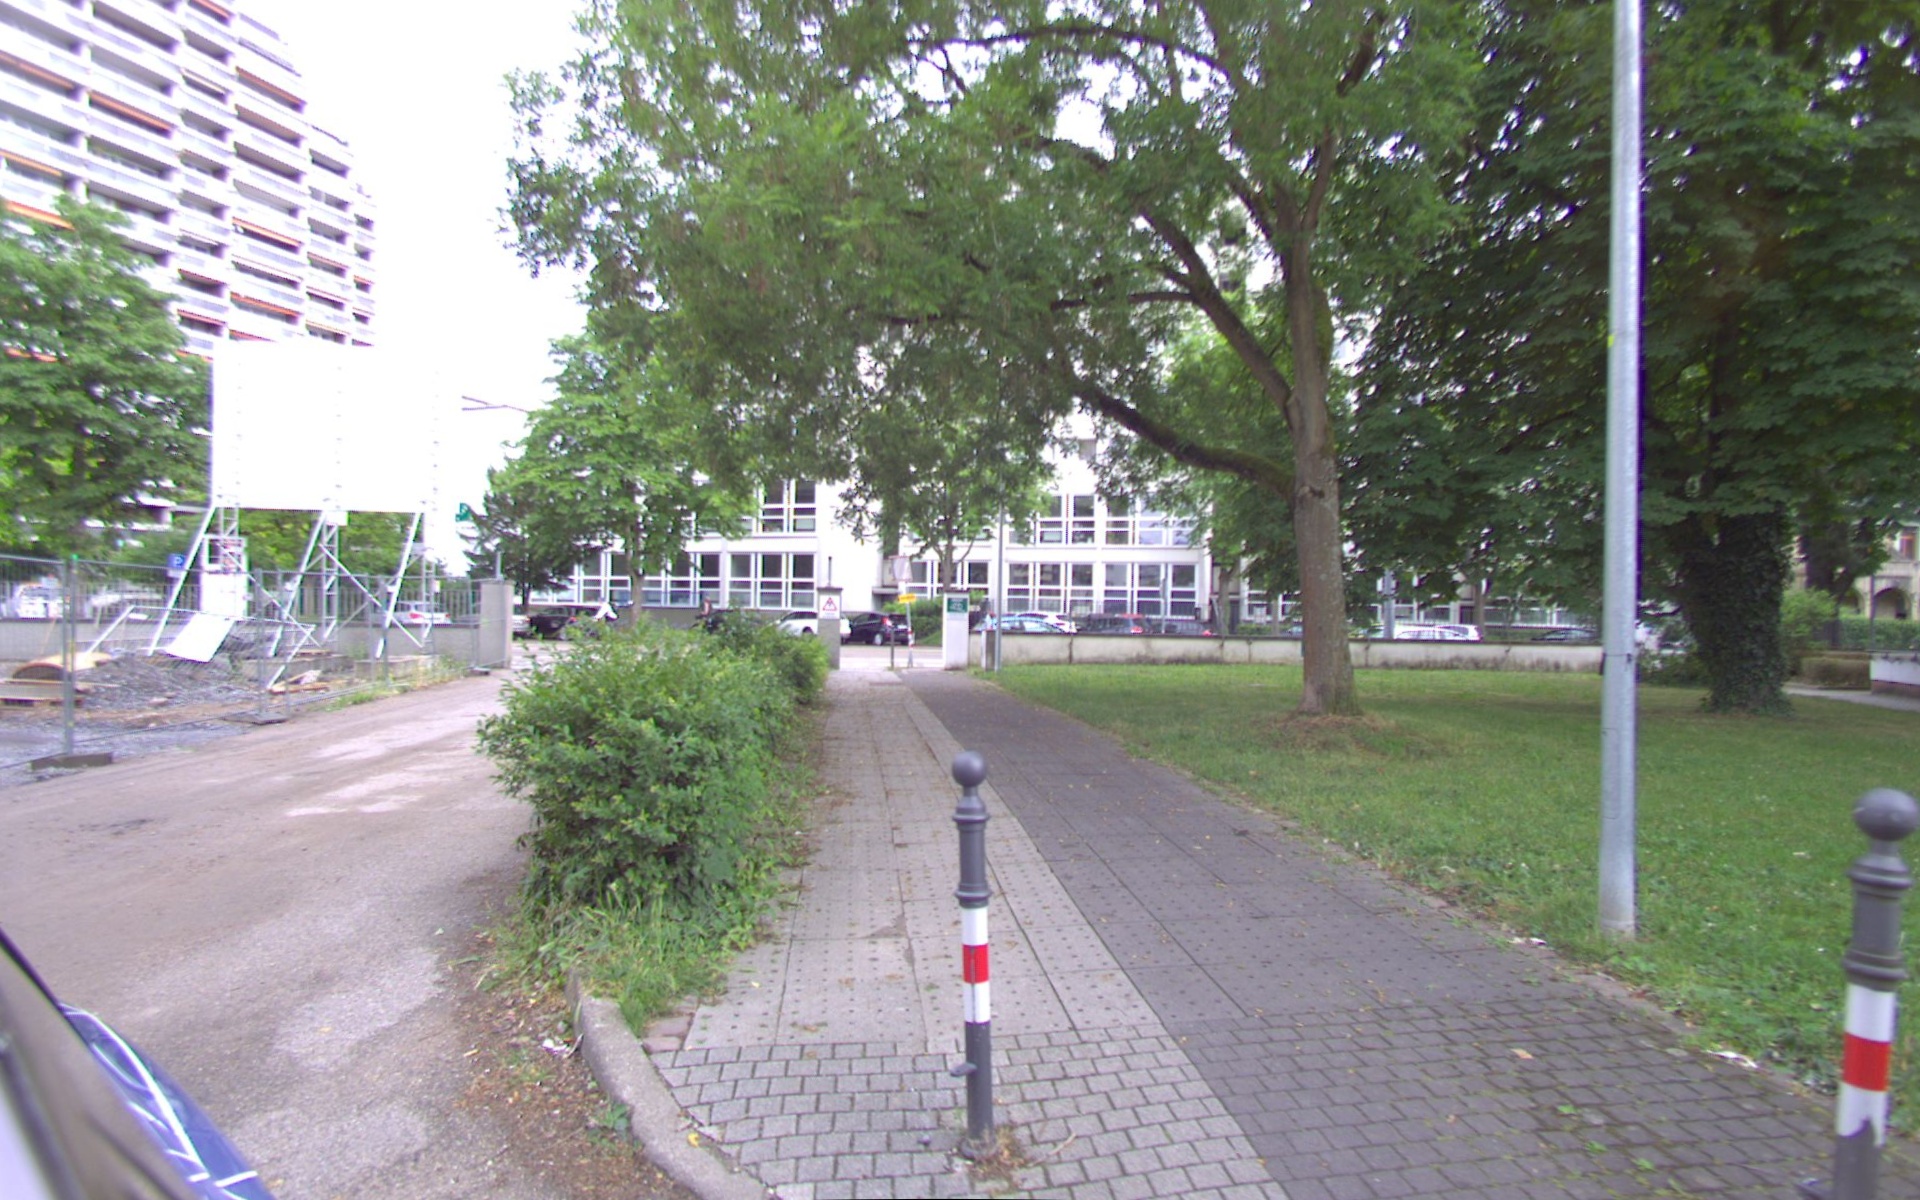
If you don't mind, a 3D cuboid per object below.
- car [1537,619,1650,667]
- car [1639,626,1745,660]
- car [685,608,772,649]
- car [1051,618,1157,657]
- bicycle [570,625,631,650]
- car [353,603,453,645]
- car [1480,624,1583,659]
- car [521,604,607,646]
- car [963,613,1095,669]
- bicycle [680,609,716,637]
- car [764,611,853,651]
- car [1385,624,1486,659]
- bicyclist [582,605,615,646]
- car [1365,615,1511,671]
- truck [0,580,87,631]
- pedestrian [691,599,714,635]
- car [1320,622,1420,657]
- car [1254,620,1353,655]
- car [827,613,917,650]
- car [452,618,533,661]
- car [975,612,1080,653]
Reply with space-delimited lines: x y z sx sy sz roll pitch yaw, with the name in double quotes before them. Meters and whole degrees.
"car" 29.745 2.003 47.615 1.966 2.029 4.011 2 0 -33
"car" 35.161 2.051 48.695 1.671 1.396 3.731 1 1 -31
"car" -9.849 1.180 42.934 3.702 1.535 1.678 2 1 39
"car" 6.307 1.618 44.563 4.340 1.465 1.678 2 1 38
"bicycle" -13.473 1.408 37.978 2.103 0.875 0.472 1 -1 -11
"car" -22.554 0.932 40.927 4.423 1.476 1.782 2 0 36
"car" 26.603 1.905 47.176 3.963 1.362 1.678 2 1 38
"car" -16.280 0.978 41.544 3.702 1.535 1.678 2 1 39
"car" 1.878 1.149 28.255 3.378 1.472 1.682 1 -2 -8
"bicycle" -12.385 1.100 47.780 1.574 1.278 0.405 1 -1 2
"car" -6.492 1.265 43.151 1.675 1.495 4.031 1 1 -45
"car" 21.941 1.877 46.729 3.963 1.362 1.678 2 1 38
"bicyclist" -13.559 0.946 37.988 1.010 1.512 0.848 1 -1 -12
"car" 13.681 1.218 29.037 3.509 1.492 1.483 1 1 -8
"truck" -35.991 0.185 39.522 5.058 1.862 1.974 1 0 39
"pedestrian" -12.236 0.804 48.180 0.748 1.623 0.731 3 1 14
"car" 18.835 1.779 46.600 3.963 1.362 1.678 2 1 38
"car" 15.642 1.679 46.148 3.963 1.362 1.678 2 1 38
"car" -3.861 1.329 43.800 1.675 1.416 4.031 1 1 -45
"car" -19.055 1.570 41.190 3.647 1.535 1.552 2 1 39
"car" 2.940 1.378 44.513 4.336 1.567 1.680 2 1 34
